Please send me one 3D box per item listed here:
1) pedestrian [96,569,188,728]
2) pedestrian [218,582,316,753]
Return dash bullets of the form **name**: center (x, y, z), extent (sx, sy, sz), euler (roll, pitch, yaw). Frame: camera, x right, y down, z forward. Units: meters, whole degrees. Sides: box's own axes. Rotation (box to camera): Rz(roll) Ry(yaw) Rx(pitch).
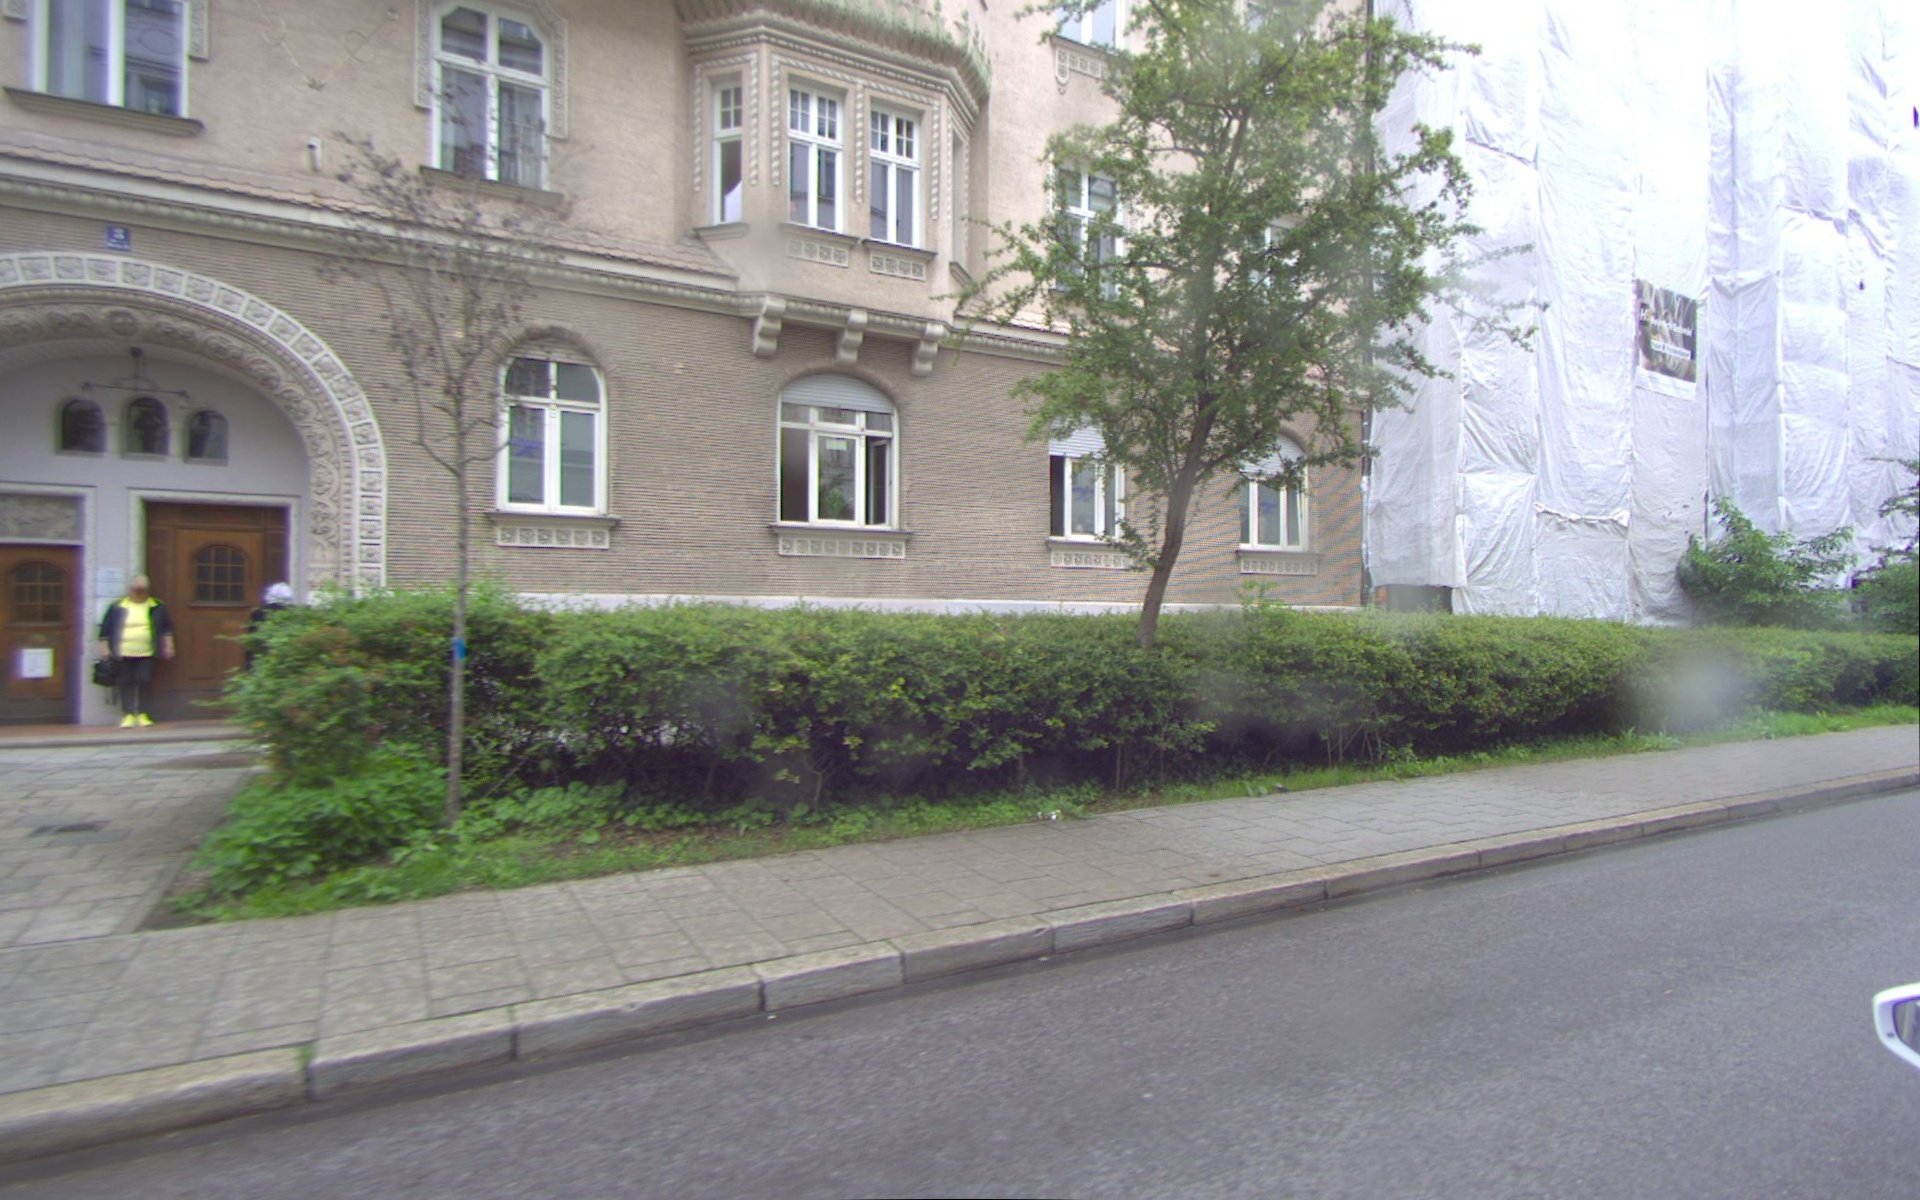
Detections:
- **pedestrian**: center (-8.779, 0.506, 10.782), extent (0.716, 1.632, 0.603), euler (1, -1, -42)
- **pedestrian**: center (-6.911, 0.652, 10.022), extent (0.716, 1.632, 0.603), euler (1, -1, -42)
